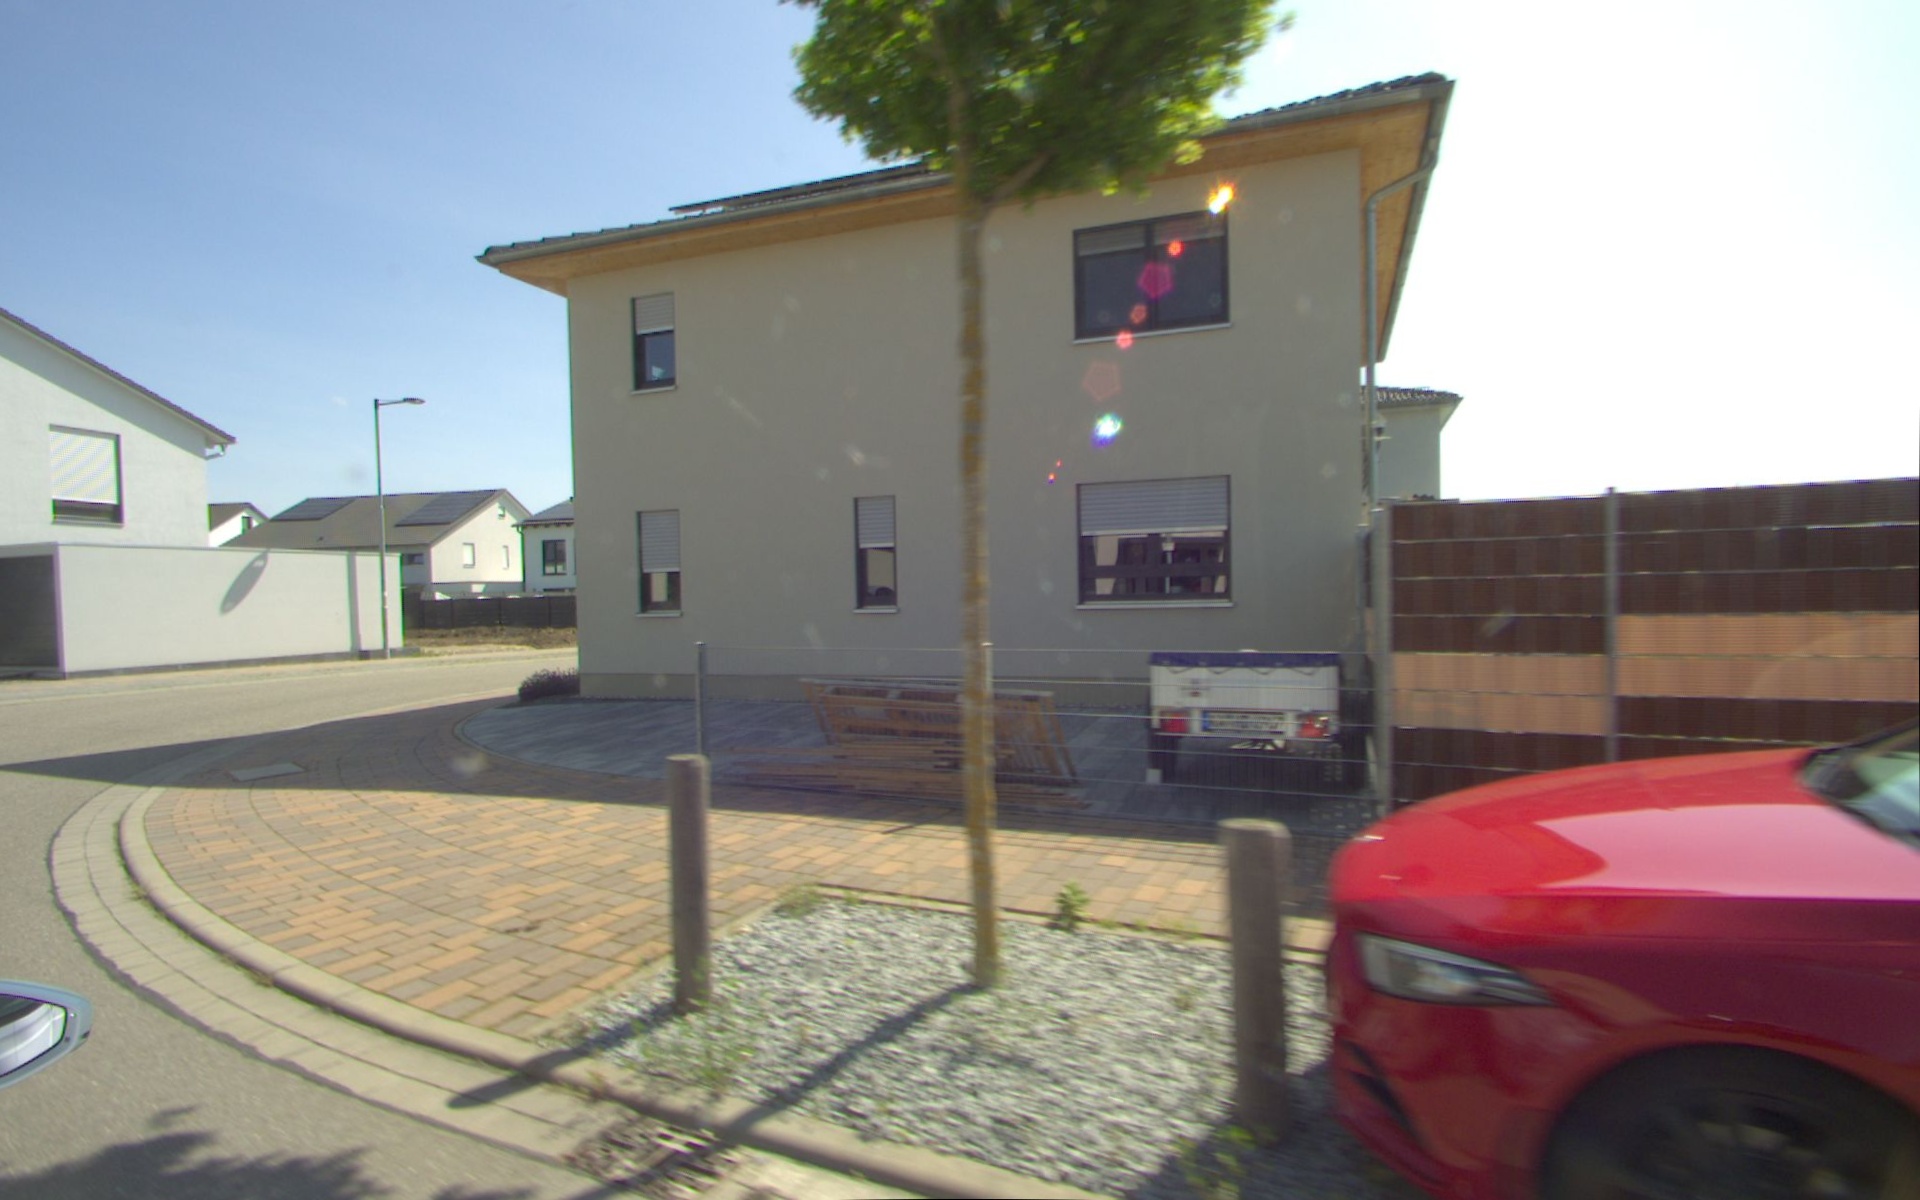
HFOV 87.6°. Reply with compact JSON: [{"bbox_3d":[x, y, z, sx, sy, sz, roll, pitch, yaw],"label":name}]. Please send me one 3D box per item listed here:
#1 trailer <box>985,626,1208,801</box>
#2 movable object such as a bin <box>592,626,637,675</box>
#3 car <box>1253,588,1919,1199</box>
[{"bbox_3d":[1.144,0.769,7.713,1.137,0.973,2.236,-1,3,23],"label":"trailer"},{"bbox_3d":[-6.934,1.013,20.099,0.542,0.943,0.645,-1,0,28],"label":"movable object such as a bin"},{"bbox_3d":[3.025,0.710,1.929,4.451,1.457,1.760,-1,2,29],"label":"car"}]
